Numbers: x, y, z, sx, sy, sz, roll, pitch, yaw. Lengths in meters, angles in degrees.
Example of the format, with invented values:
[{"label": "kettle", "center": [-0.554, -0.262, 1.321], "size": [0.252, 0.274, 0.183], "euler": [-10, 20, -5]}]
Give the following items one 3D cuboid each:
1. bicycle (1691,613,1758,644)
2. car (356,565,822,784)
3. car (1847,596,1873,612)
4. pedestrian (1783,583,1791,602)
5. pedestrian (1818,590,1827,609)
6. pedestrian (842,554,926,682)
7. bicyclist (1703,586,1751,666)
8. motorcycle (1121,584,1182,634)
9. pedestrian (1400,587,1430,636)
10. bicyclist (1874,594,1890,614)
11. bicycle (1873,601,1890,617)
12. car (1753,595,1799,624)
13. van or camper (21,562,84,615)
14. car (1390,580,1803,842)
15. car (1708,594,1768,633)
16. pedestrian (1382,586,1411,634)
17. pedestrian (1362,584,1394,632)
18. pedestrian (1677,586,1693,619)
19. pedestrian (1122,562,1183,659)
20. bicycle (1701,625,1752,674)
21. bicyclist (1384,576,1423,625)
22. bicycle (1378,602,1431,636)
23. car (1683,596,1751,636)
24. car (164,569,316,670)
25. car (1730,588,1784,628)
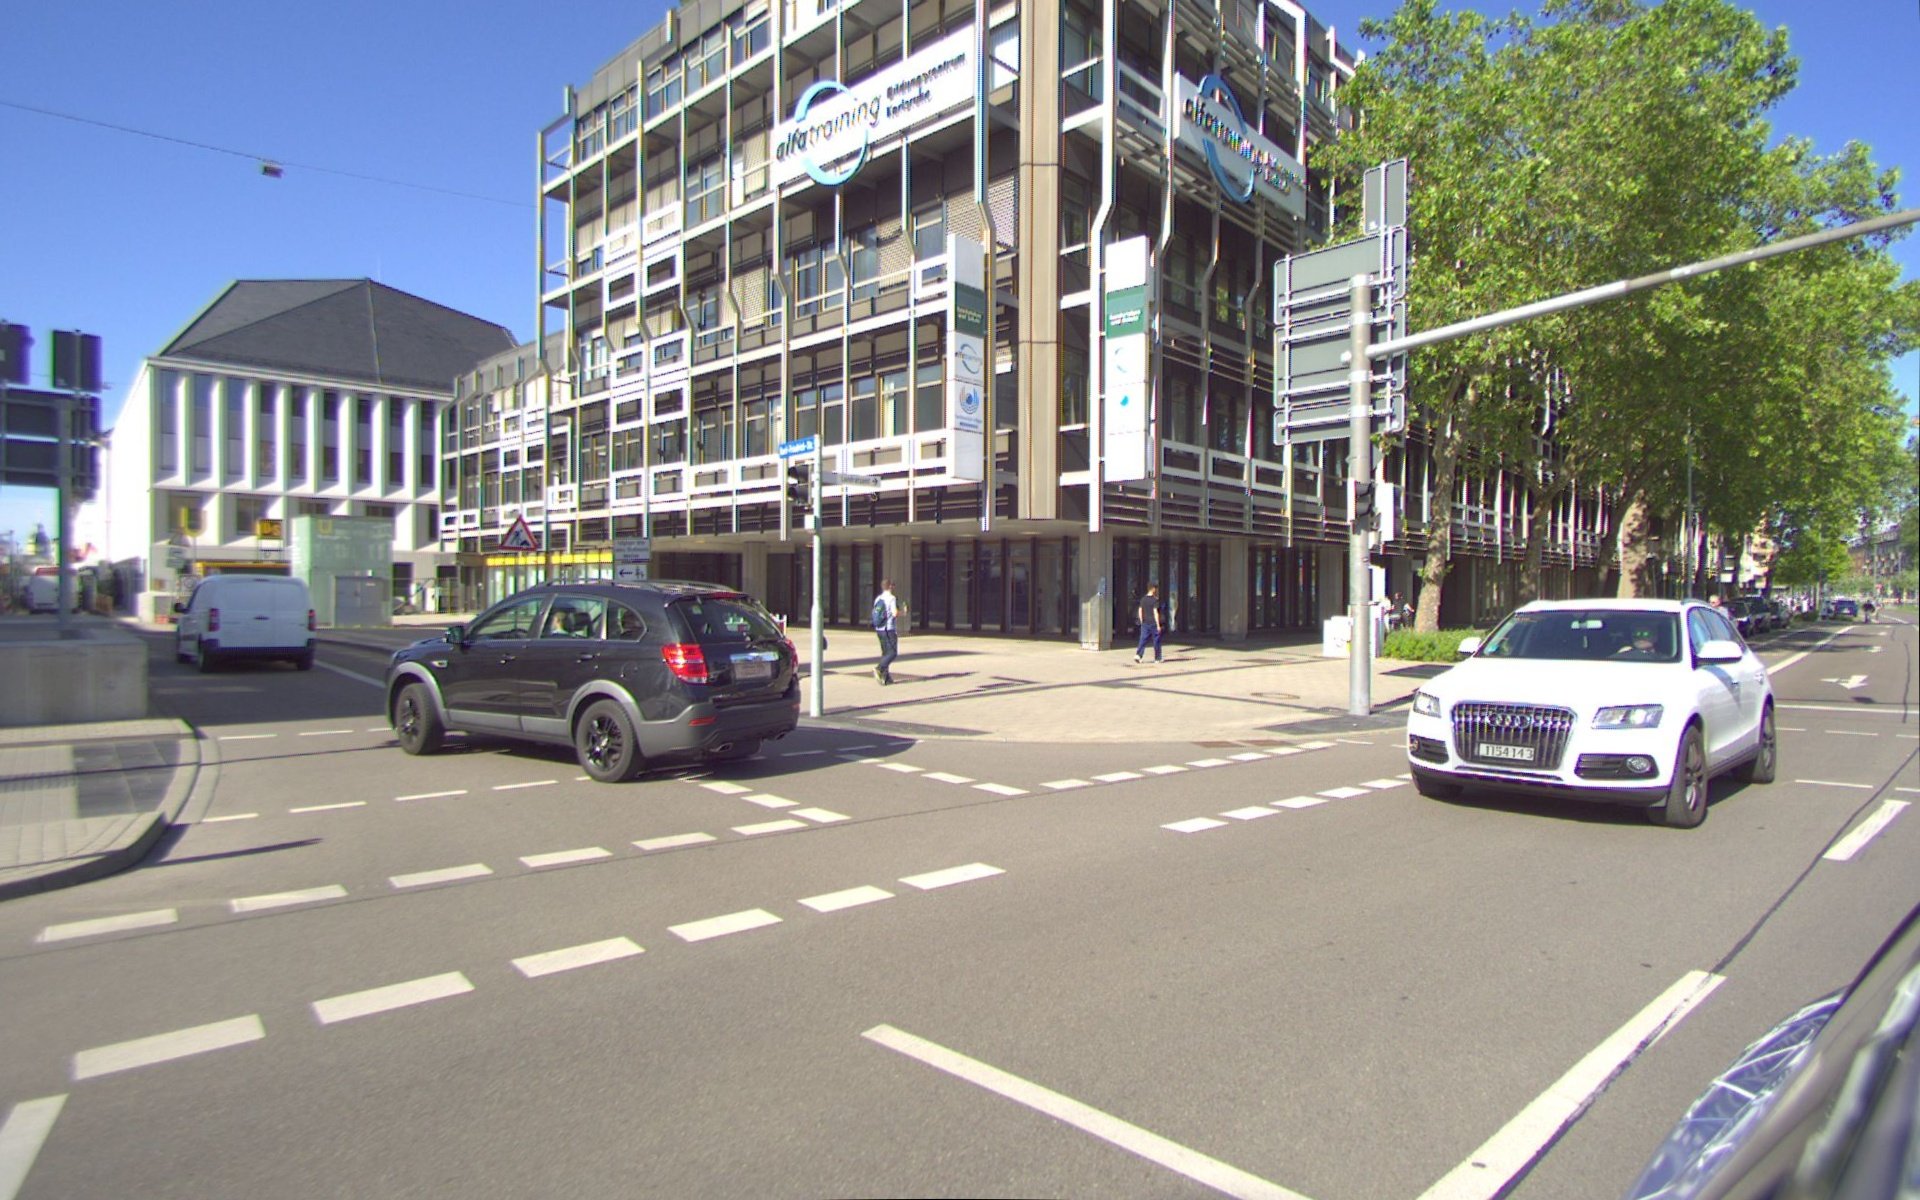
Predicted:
[{"label": "bicycle", "center": [26.745, 0.982, 35.420], "size": [1.841, 0.972, 0.701], "euler": [3, 2, 40]}, {"label": "car", "center": [-3.632, 0.579, 9.774], "size": [4.370, 1.721, 1.773], "euler": [0, 0, 28]}, {"label": "car", "center": [91.506, 0.389, 102.899], "size": [1.992, 1.627, 3.837], "euler": [0, 0, 42]}, {"label": "pedestrian", "center": [82.365, -0.732, 100.804], "size": [0.589, 1.864, 0.685], "euler": [0, -1, 43]}, {"label": "pedestrian", "center": [82.578, -0.066, 96.875], "size": [0.589, 1.864, 0.560], "euler": [0, -1, 43]}, {"label": "pedestrian", "center": [-1.251, 0.273, 16.789], "size": [0.942, 2.039, 1.067], "euler": [0, 0, 33]}, {"label": "bicyclist", "center": [16.896, 0.566, 22.289], "size": [0.709, 1.709, 0.839], "euler": [-3, -2, 42]}, {"label": "motorcycle", "center": [5.826, 0.255, 30.660], "size": [0.823, 1.459, 2.089], "euler": [0, 0, 44]}, {"label": "pedestrian", "center": [15.402, 0.381, 34.241], "size": [0.666, 1.620, 0.716], "euler": [3, 2, 44]}, {"label": "bicyclist", "center": [67.137, 0.292, 73.697], "size": [0.828, 1.406, 0.889], "euler": [0, 0, 44]}, {"label": "bicycle", "center": [67.127, 0.669, 73.699], "size": [0.843, 1.144, 2.512], "euler": [0, 0, 44]}, {"label": "car", "center": [47.643, 0.511, 59.039], "size": [1.748, 1.573, 4.269], "euler": [2, 2, 43]}, {"label": "van or camper", "center": [-46.432, -0.624, 51.721], "size": [2.284, 2.545, 6.413], "euler": [0, 1, -43]}, {"label": "car", "center": [5.486, 0.691, 8.478], "size": [4.336, 1.634, 1.822], "euler": [0, 0, -42]}, {"label": "car", "center": [35.988, 0.582, 46.796], "size": [1.748, 1.654, 4.269], "euler": [2, 2, 43]}, {"label": "pedestrian", "center": [15.126, 0.345, 35.058], "size": [0.716, 1.620, 0.666], "euler": [1, 2, -45]}, {"label": "pedestrian", "center": [14.703, 0.278, 35.583], "size": [0.666, 1.620, 0.993], "euler": [3, 2, 44]}, {"label": "pedestrian", "center": [45.288, 0.132, 63.198], "size": [0.739, 2.039, 0.616], "euler": [0, -1, 44]}, {"label": "pedestrian", "center": [4.183, 0.213, 21.989], "size": [0.944, 2.039, 1.065], "euler": [0, 0, 36]}, {"label": "bicycle", "center": [16.853, 1.068, 22.233], "size": [0.709, 1.006, 1.894], "euler": [-3, -2, 42]}, {"label": "bicyclist", "center": [13.761, 0.012, 31.405], "size": [0.881, 1.495, 0.869], "euler": [0, 0, 44]}, {"label": "bicycle", "center": [13.838, 0.564, 31.495], "size": [0.881, 0.997, 2.019], "euler": [1, 0, 43]}, {"label": "car", "center": [31.467, 0.628, 42.018], "size": [1.748, 1.508, 4.488], "euler": [2, 2, 43]}, {"label": "car", "center": [-14.172, 0.334, 19.831], "size": [4.150, 1.756, 1.762], "euler": [0, 0, 45]}, {"label": "car", "center": [40.029, 0.382, 50.784], "size": [1.748, 1.844, 4.269], "euler": [2, 2, 43]}]
